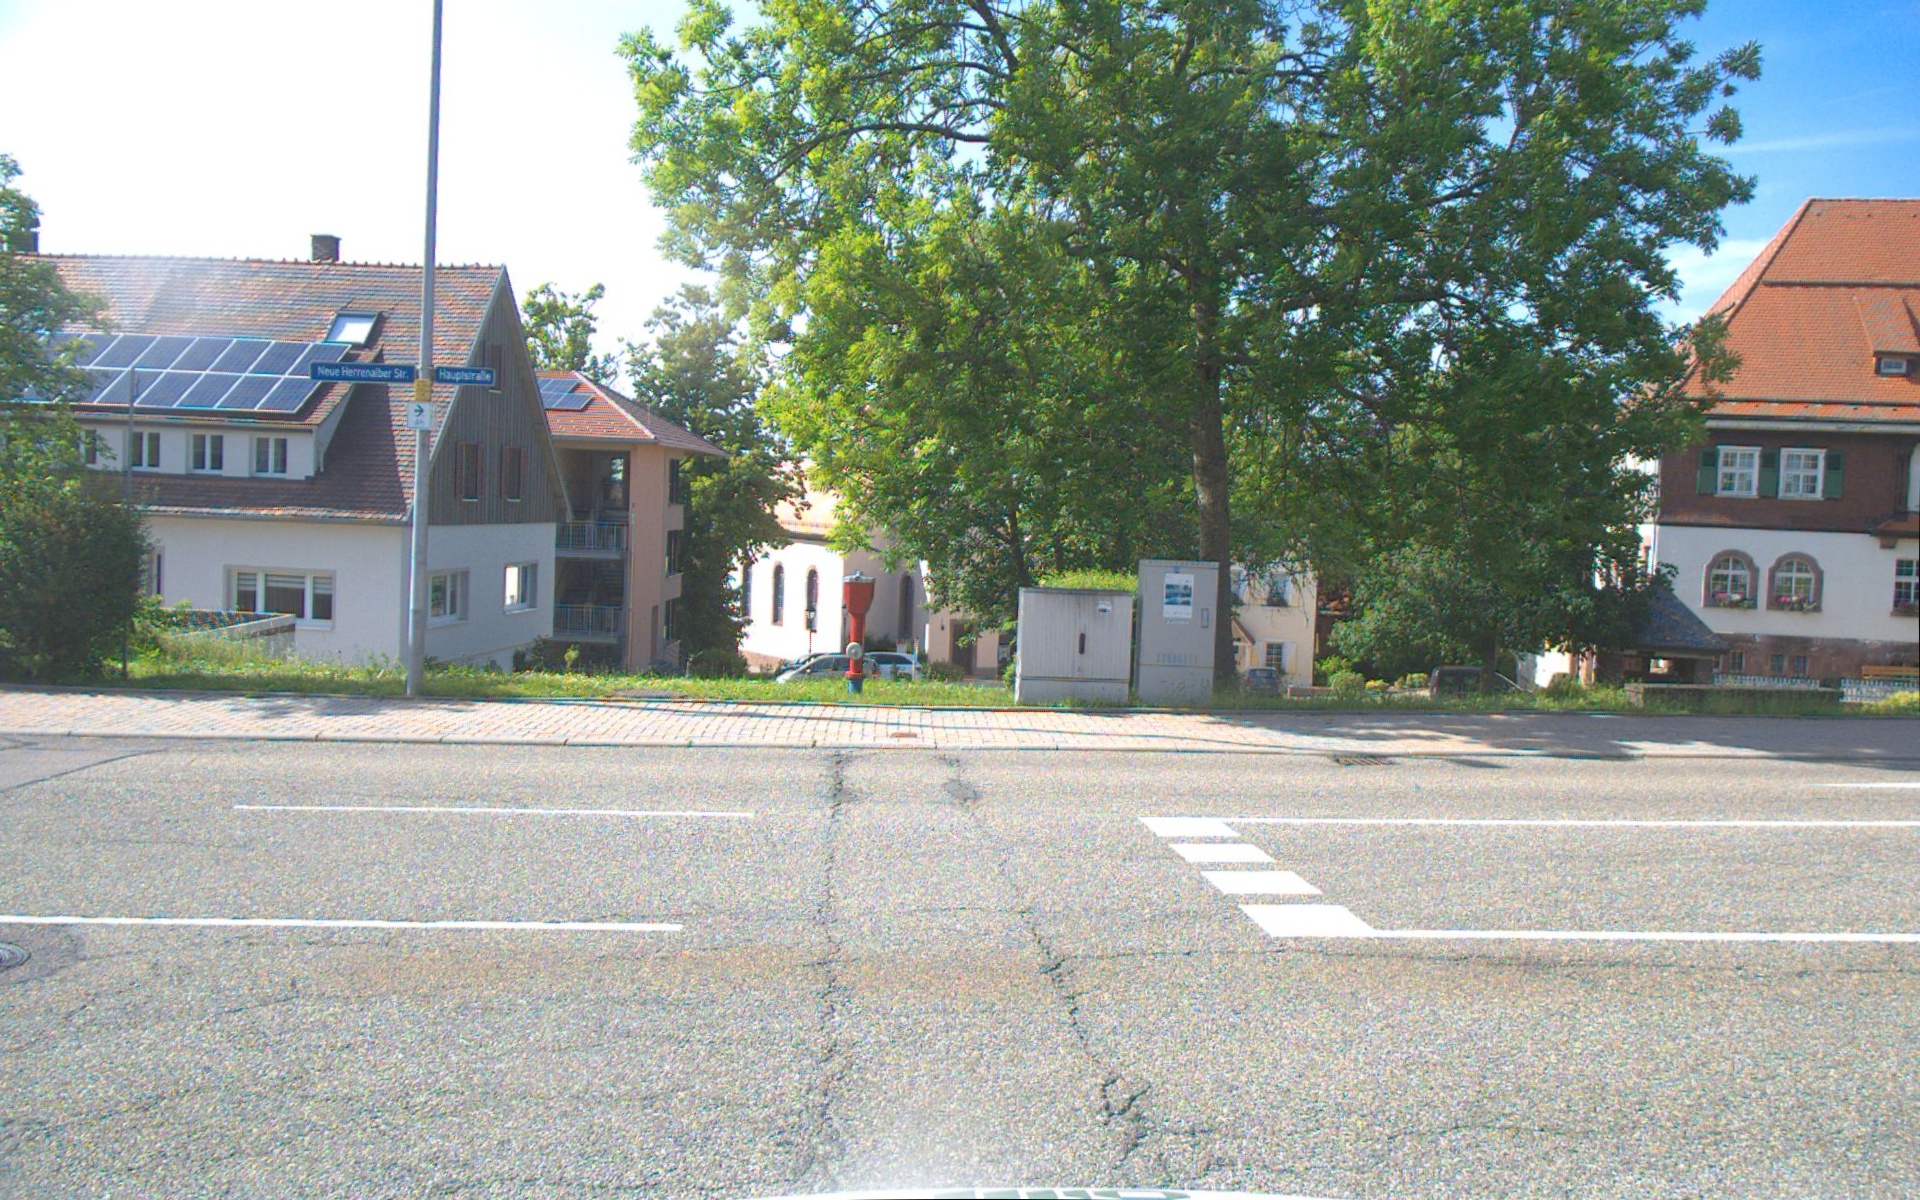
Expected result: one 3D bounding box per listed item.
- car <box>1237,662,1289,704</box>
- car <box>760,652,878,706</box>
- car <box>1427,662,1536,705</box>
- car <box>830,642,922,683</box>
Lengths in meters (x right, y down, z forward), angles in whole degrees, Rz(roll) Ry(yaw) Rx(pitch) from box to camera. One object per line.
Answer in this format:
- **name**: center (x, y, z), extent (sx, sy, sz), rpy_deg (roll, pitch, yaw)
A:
- **car**: center (12.443, 3.388, 68.058), extent (1.672, 1.569, 3.787), rpy_deg (1, 0, 3)
- **car**: center (-4.900, 2.737, 57.535), extent (4.011, 1.789, 1.711), rpy_deg (1, -1, -6)
- **car**: center (19.445, 3.102, 61.807), extent (3.692, 1.470, 1.715), rpy_deg (1, -1, 11)
- **car**: center (-3.487, 2.580, 68.405), extent (3.700, 1.621, 1.711), rpy_deg (1, -1, -7)
